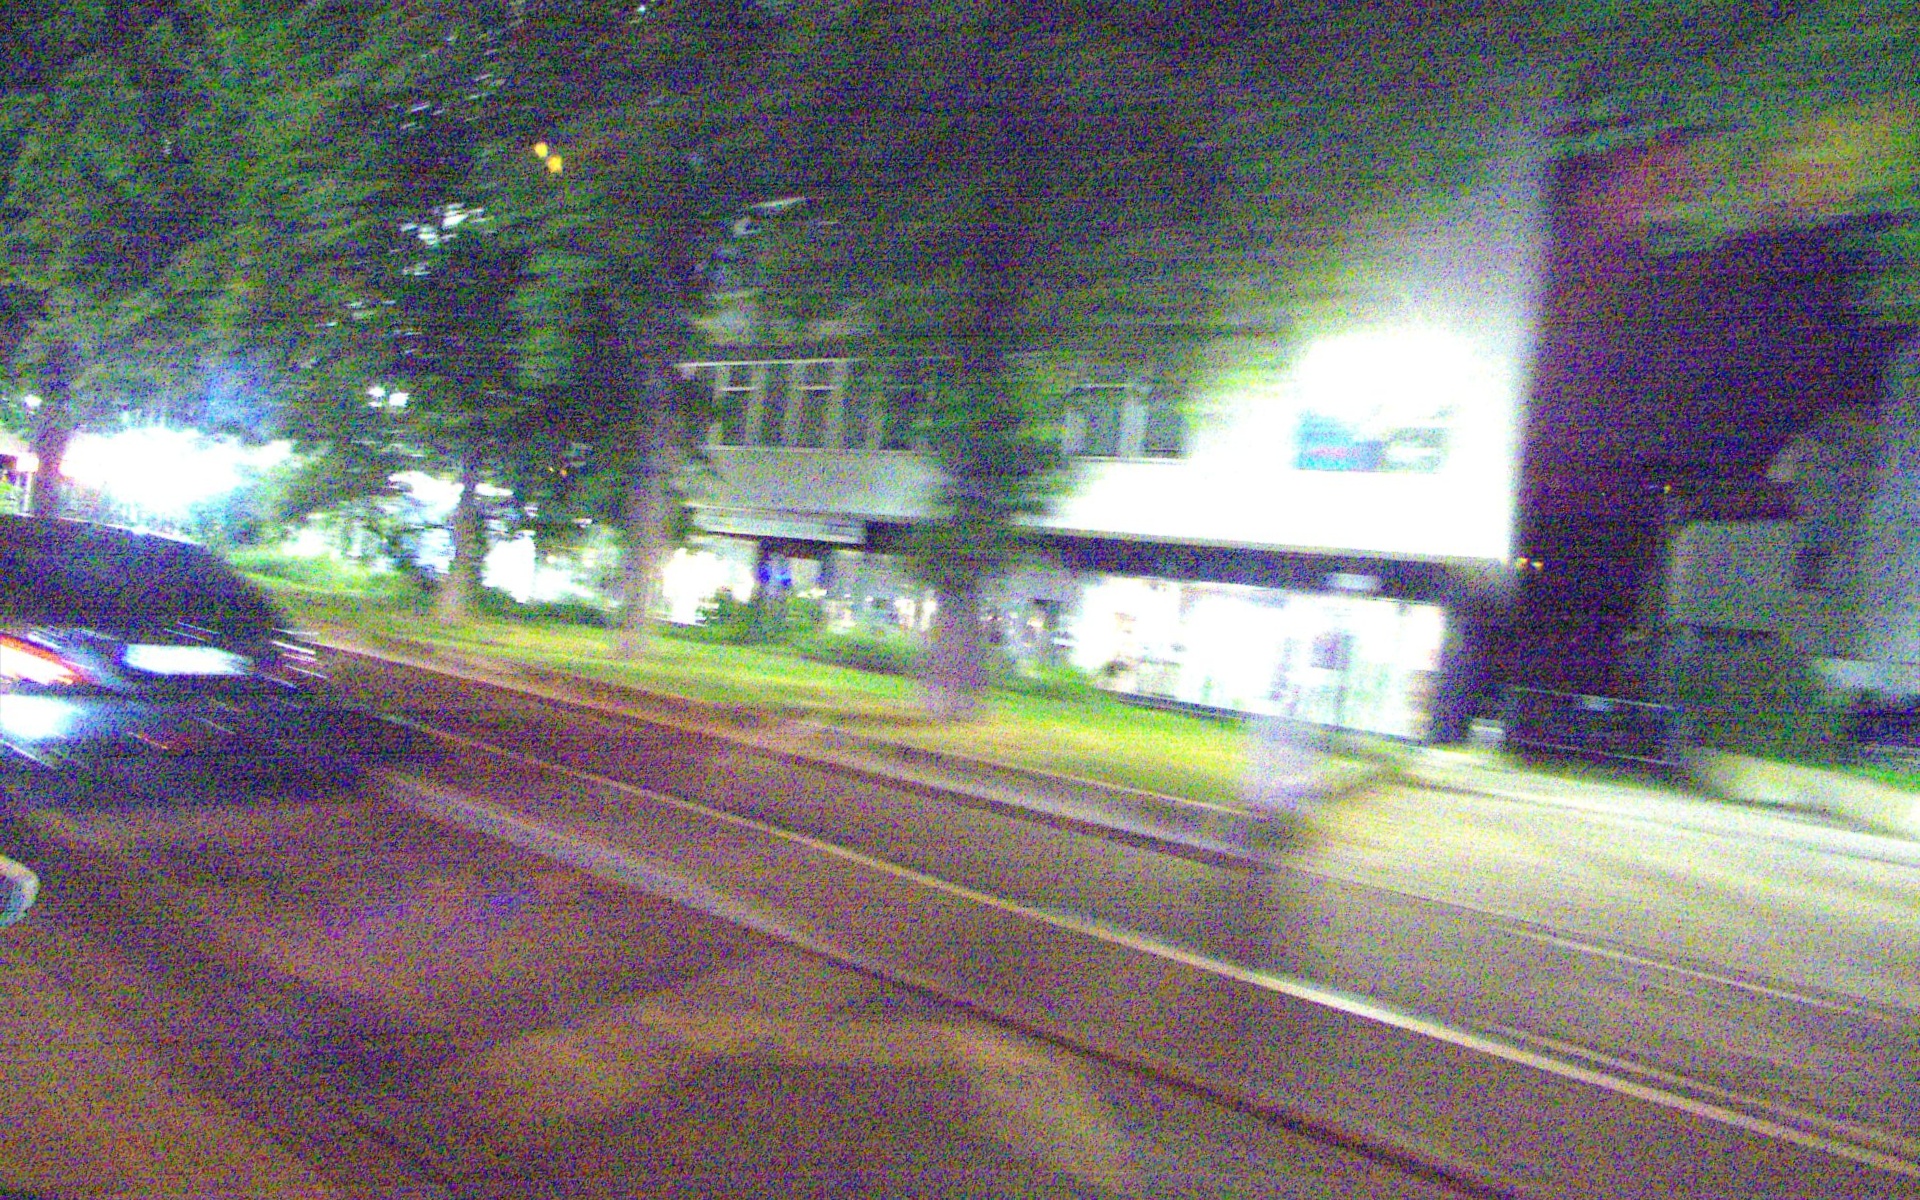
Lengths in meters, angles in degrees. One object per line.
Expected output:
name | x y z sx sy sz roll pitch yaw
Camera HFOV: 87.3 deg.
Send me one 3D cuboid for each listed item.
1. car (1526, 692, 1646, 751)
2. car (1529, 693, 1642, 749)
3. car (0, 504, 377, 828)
car | 22.296 4.305 35.951 3.415 1.527 1.791 7 -1 32
car | 23.504 4.524 37.933 3.415 1.527 1.791 7 -1 32
car | -5.941 0.144 6.391 4.728 1.431 1.766 7 0 32
